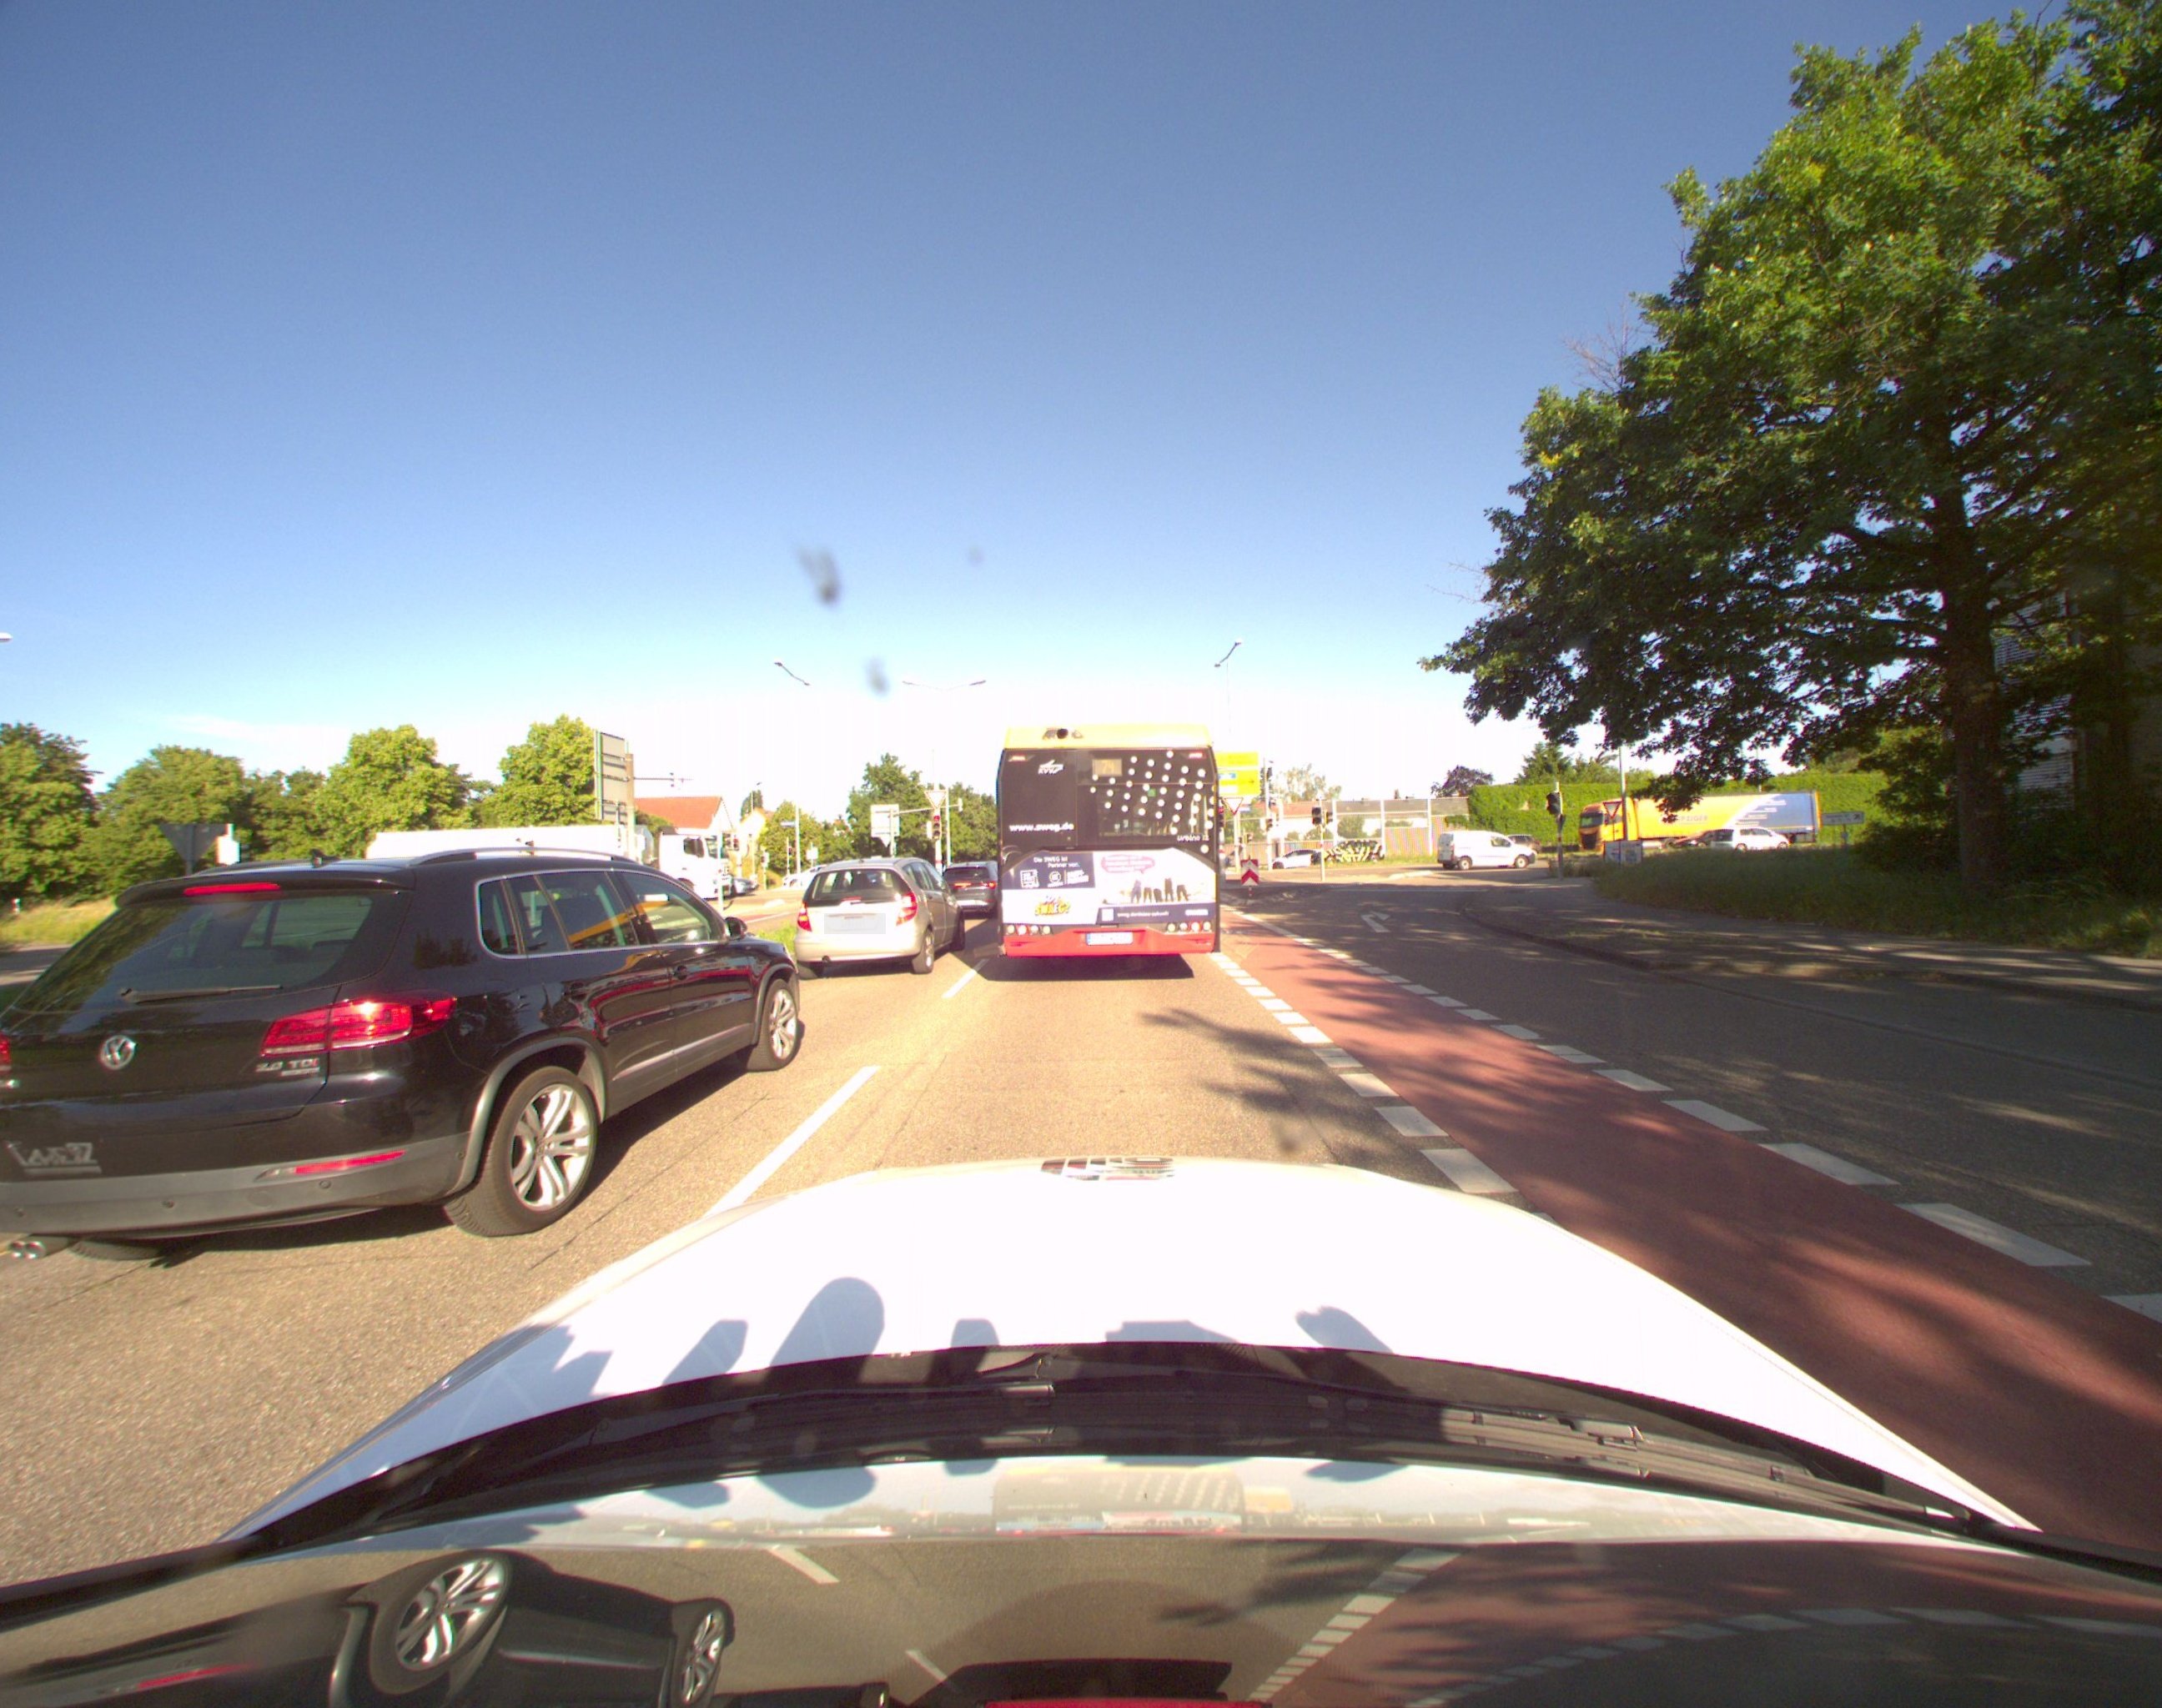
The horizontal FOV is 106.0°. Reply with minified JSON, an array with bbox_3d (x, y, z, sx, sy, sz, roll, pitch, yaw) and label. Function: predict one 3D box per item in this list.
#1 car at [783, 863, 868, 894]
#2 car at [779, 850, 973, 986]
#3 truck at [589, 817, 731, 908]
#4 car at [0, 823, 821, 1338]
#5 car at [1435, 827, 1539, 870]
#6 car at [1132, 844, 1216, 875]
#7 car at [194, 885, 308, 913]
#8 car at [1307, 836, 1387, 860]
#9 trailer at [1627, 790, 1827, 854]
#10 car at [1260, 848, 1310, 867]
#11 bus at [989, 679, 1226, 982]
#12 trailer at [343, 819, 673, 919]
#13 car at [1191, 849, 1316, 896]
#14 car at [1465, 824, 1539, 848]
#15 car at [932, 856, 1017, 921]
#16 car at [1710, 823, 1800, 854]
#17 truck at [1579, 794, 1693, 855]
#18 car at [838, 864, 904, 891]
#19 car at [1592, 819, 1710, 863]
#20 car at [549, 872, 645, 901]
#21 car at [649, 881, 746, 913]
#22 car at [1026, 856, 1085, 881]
[{"bbox_3d":[-15.167,1.442,48.546,4.522,1.715,1.995,-1,-1,-7],"label":"car"},{"bbox_3d":[-2.881,0.804,12.396,1.747,1.620,4.035,-2,1,2],"label":"car"},{"bbox_3d":[-18.242,0.357,35.530,4.790,3.695,2.408,-2,0,-3],"label":"truck"},{"bbox_3d":[-3.165,0.816,4.785,1.814,1.673,4.004,-3,-1,1],"label":"car"},{"bbox_3d":[19.013,-0.246,38.252,4.097,1.801,1.458,-2,-1,0],"label":"car"},{"bbox_3d":[4.883,0.288,43.247,4.212,1.563,1.761,-1,-1,-3],"label":"car"},{"bbox_3d":[-46.293,2.491,45.501,4.410,1.459,1.571,-1,-1,-8],"label":"car"},{"bbox_3d":[15.489,-0.355,47.587,4.148,1.302,1.573,-1,-1,-2],"label":"car"},{"bbox_3d":[45.284,-2.226,57.189,12.712,4.030,2.466,-2,0,-5],"label":"trailer"},{"bbox_3d":[15.061,0.261,60.153,3.556,1.265,1.359,-2,0,15],"label":"car"},{"bbox_3d":[0.482,-0.254,15.059,2.586,3.334,11.988,-1,0,2],"label":"bus"},{"bbox_3d":[-24.040,0.567,34.793,11.475,3.696,2.387,-2,0,-10],"label":"trailer"},{"bbox_3d":[5.104,0.545,24.261,3.500,1.302,1.579,-1,1,10],"label":"car"},{"bbox_3d":[27.053,-1.137,52.362,3.980,1.442,1.563,-1,-1,-5],"label":"car"},{"bbox_3d":[-2.679,0.845,21.188,1.582,1.486,3.683,-2,-1,1],"label":"car"},{"bbox_3d":[36.436,-0.816,44.081,3.664,1.486,1.591,-2,-1,-5],"label":"car"},{"bbox_3d":[38.478,-2.028,56.578,6.387,3.998,2.468,-2,0,-5],"label":"truck"},{"bbox_3d":[-14.077,1.546,54.732,3.979,1.612,1.693,-2,0,-4],"label":"car"},{"bbox_3d":[17.820,-0.382,25.472,3.412,1.296,1.449,0,-1,-24],"label":"car"},{"bbox_3d":[-24.655,1.633,41.595,3.842,1.385,1.678,-1,-1,-7],"label":"car"},{"bbox_3d":[-18.230,2.039,38.833,3.843,1.313,1.504,-2,-1,-7],"label":"car"},{"bbox_3d":[-1.778,0.987,56.164,3.979,1.612,1.693,-2,0,-4],"label":"car"}]
